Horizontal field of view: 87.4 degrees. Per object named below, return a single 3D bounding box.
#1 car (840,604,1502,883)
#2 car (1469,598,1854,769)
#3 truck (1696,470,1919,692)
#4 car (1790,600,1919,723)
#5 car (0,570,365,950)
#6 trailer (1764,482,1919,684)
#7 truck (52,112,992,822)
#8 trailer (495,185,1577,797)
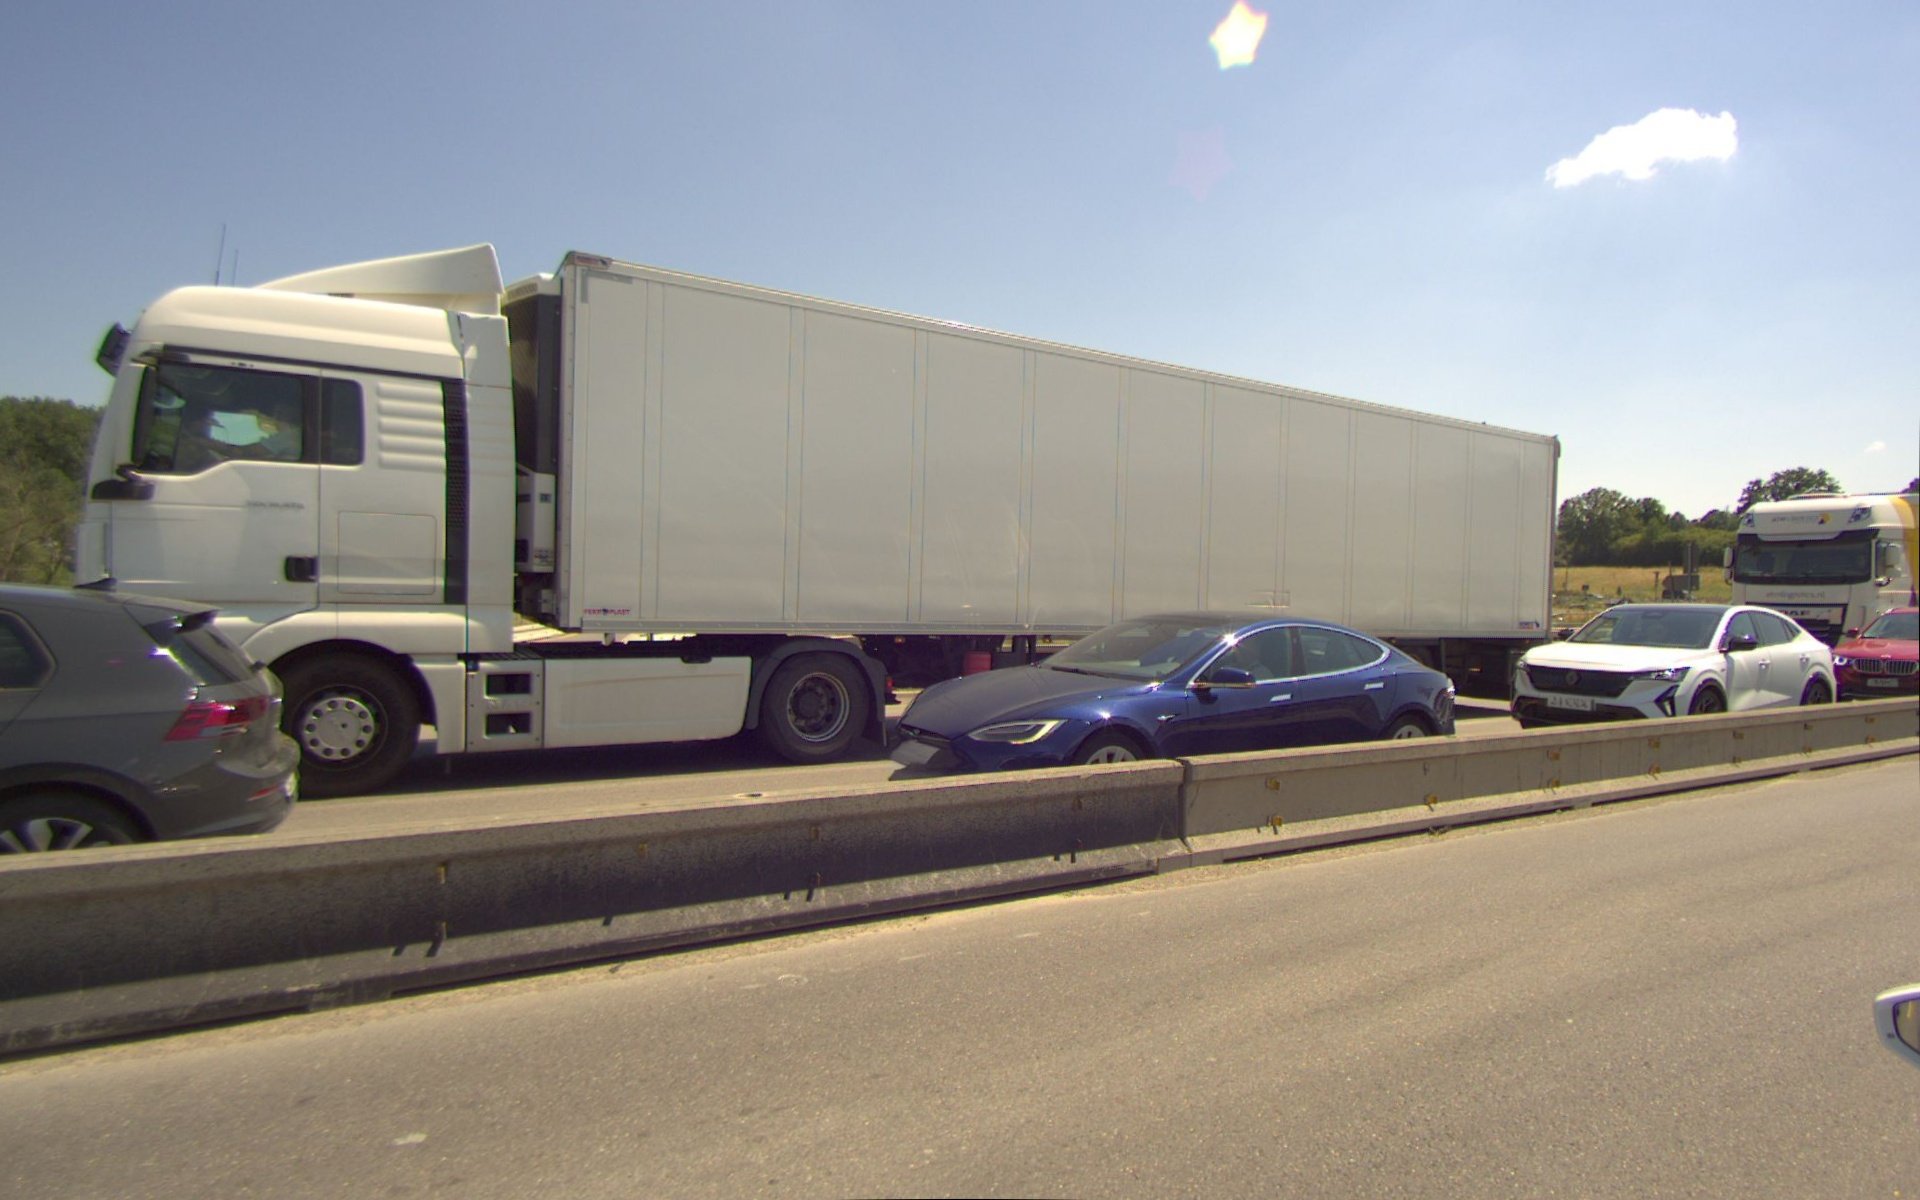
[{"bbox_3d":[1.770,0.805,7.644,5.062,1.457,1.803,0,2,-31],"label":"car"},{"bbox_3d":[8.388,0.853,11.895,4.827,1.642,1.983,1,0,-32],"label":"car"},{"bbox_3d":[19.190,-0.365,21.964,5.807,4.241,2.962,0,1,-31],"label":"truck"},{"bbox_3d":[15.393,0.883,15.924,4.703,1.653,1.983,-1,3,-31],"label":"car"},{"bbox_3d":[-5.066,0.576,3.984,4.630,1.442,1.823,1,0,-31],"label":"car"},{"bbox_3d":[25.539,-0.323,25.813,13.785,4.265,2.971,1,1,-31],"label":"trailer"},{"bbox_3d":[-3.328,-0.804,9.052,6.622,4.254,3.082,0,1,-30],"label":"truck"},{"bbox_3d":[2.116,-0.749,12.252,13.915,4.442,3.125,1,1,-31],"label":"trailer"}]
